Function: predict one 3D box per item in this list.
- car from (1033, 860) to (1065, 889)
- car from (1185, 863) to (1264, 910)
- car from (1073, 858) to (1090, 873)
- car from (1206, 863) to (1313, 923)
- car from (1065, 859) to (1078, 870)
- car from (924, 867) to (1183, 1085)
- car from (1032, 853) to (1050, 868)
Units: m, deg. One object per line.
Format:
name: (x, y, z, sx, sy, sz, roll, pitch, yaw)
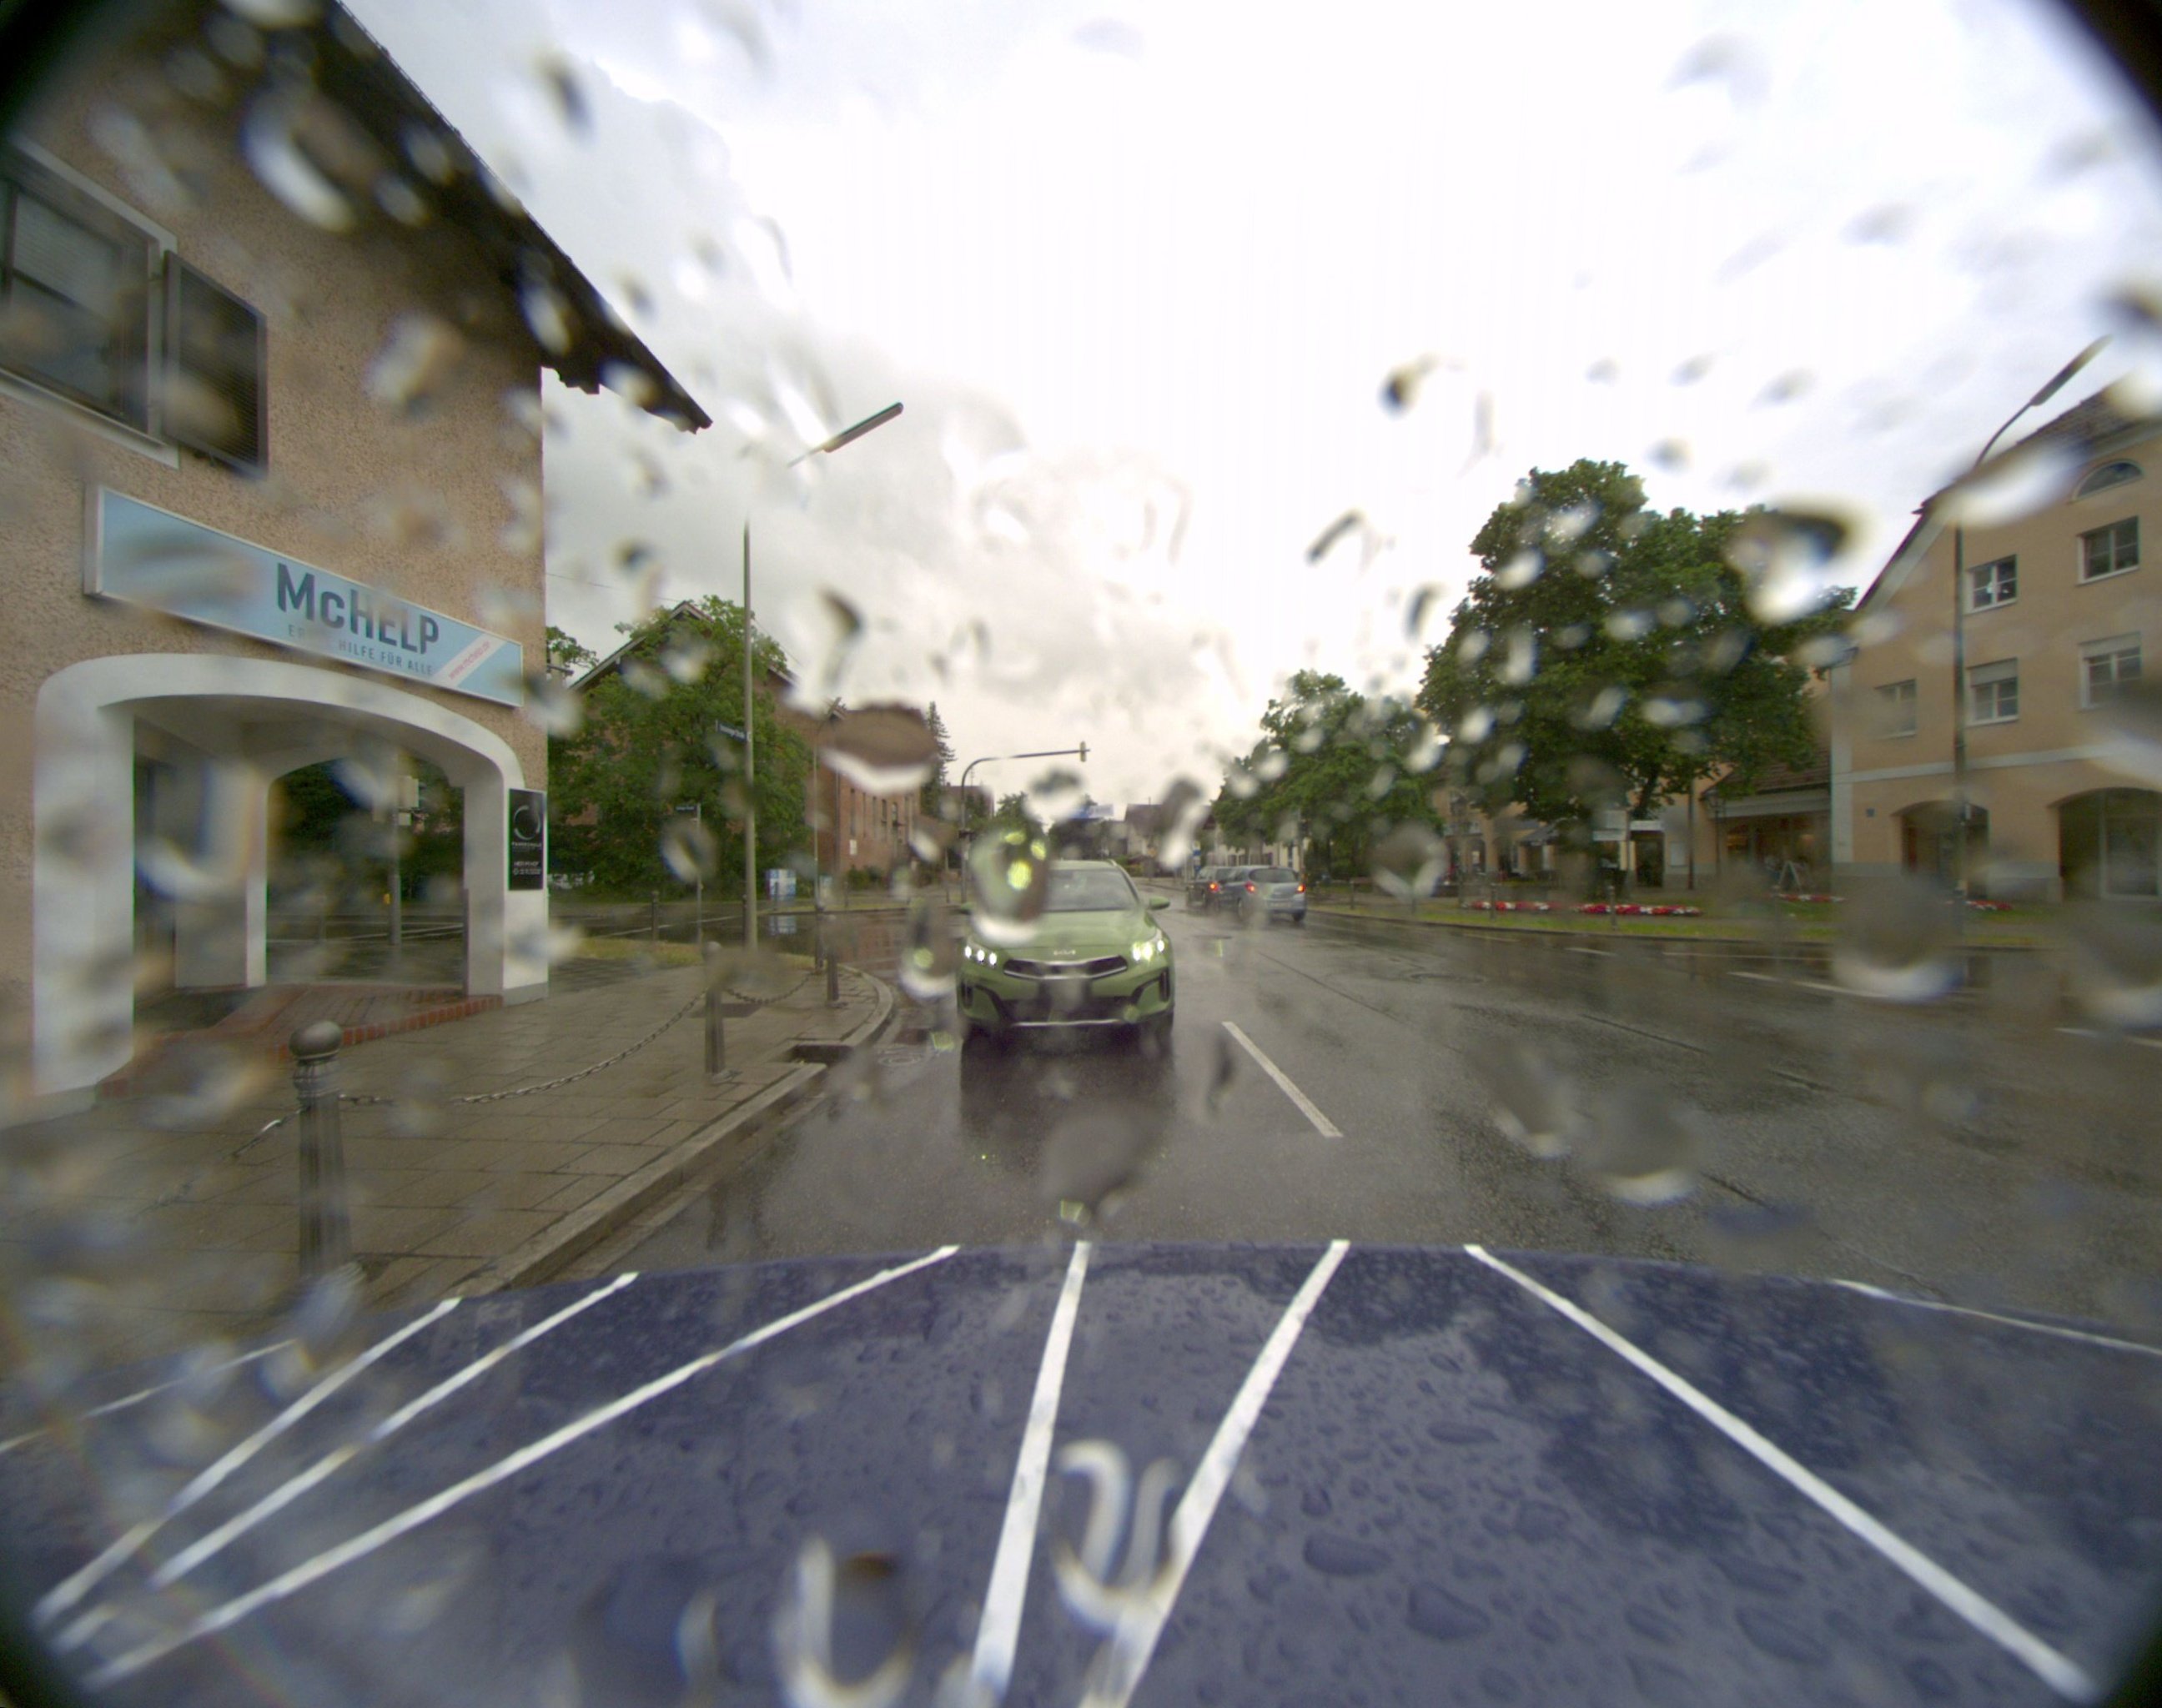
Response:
car: (-1.840, 1.117, 43.258, 1.736, 1.489, 4.609, 0, 0, -3)
car: (4.930, 1.081, 26.660, 1.873, 1.447, 4.104, 0, 0, -2)
car: (0.054, 1.397, 92.622, 1.810, 1.677, 3.998, -1, 0, -4)
car: (4.828, 1.000, 21.133, 1.873, 1.447, 4.104, 0, 0, -2)
car: (-1.444, 1.590, 117.474, 1.810, 1.677, 3.998, -1, 0, -4)
car: (-0.173, 0.925, 7.602, 1.872, 1.505, 4.105, -1, 0, 1)
car: (-5.446, 0.810, 103.716, 2.218, 1.977, 4.952, 0, 0, -5)
